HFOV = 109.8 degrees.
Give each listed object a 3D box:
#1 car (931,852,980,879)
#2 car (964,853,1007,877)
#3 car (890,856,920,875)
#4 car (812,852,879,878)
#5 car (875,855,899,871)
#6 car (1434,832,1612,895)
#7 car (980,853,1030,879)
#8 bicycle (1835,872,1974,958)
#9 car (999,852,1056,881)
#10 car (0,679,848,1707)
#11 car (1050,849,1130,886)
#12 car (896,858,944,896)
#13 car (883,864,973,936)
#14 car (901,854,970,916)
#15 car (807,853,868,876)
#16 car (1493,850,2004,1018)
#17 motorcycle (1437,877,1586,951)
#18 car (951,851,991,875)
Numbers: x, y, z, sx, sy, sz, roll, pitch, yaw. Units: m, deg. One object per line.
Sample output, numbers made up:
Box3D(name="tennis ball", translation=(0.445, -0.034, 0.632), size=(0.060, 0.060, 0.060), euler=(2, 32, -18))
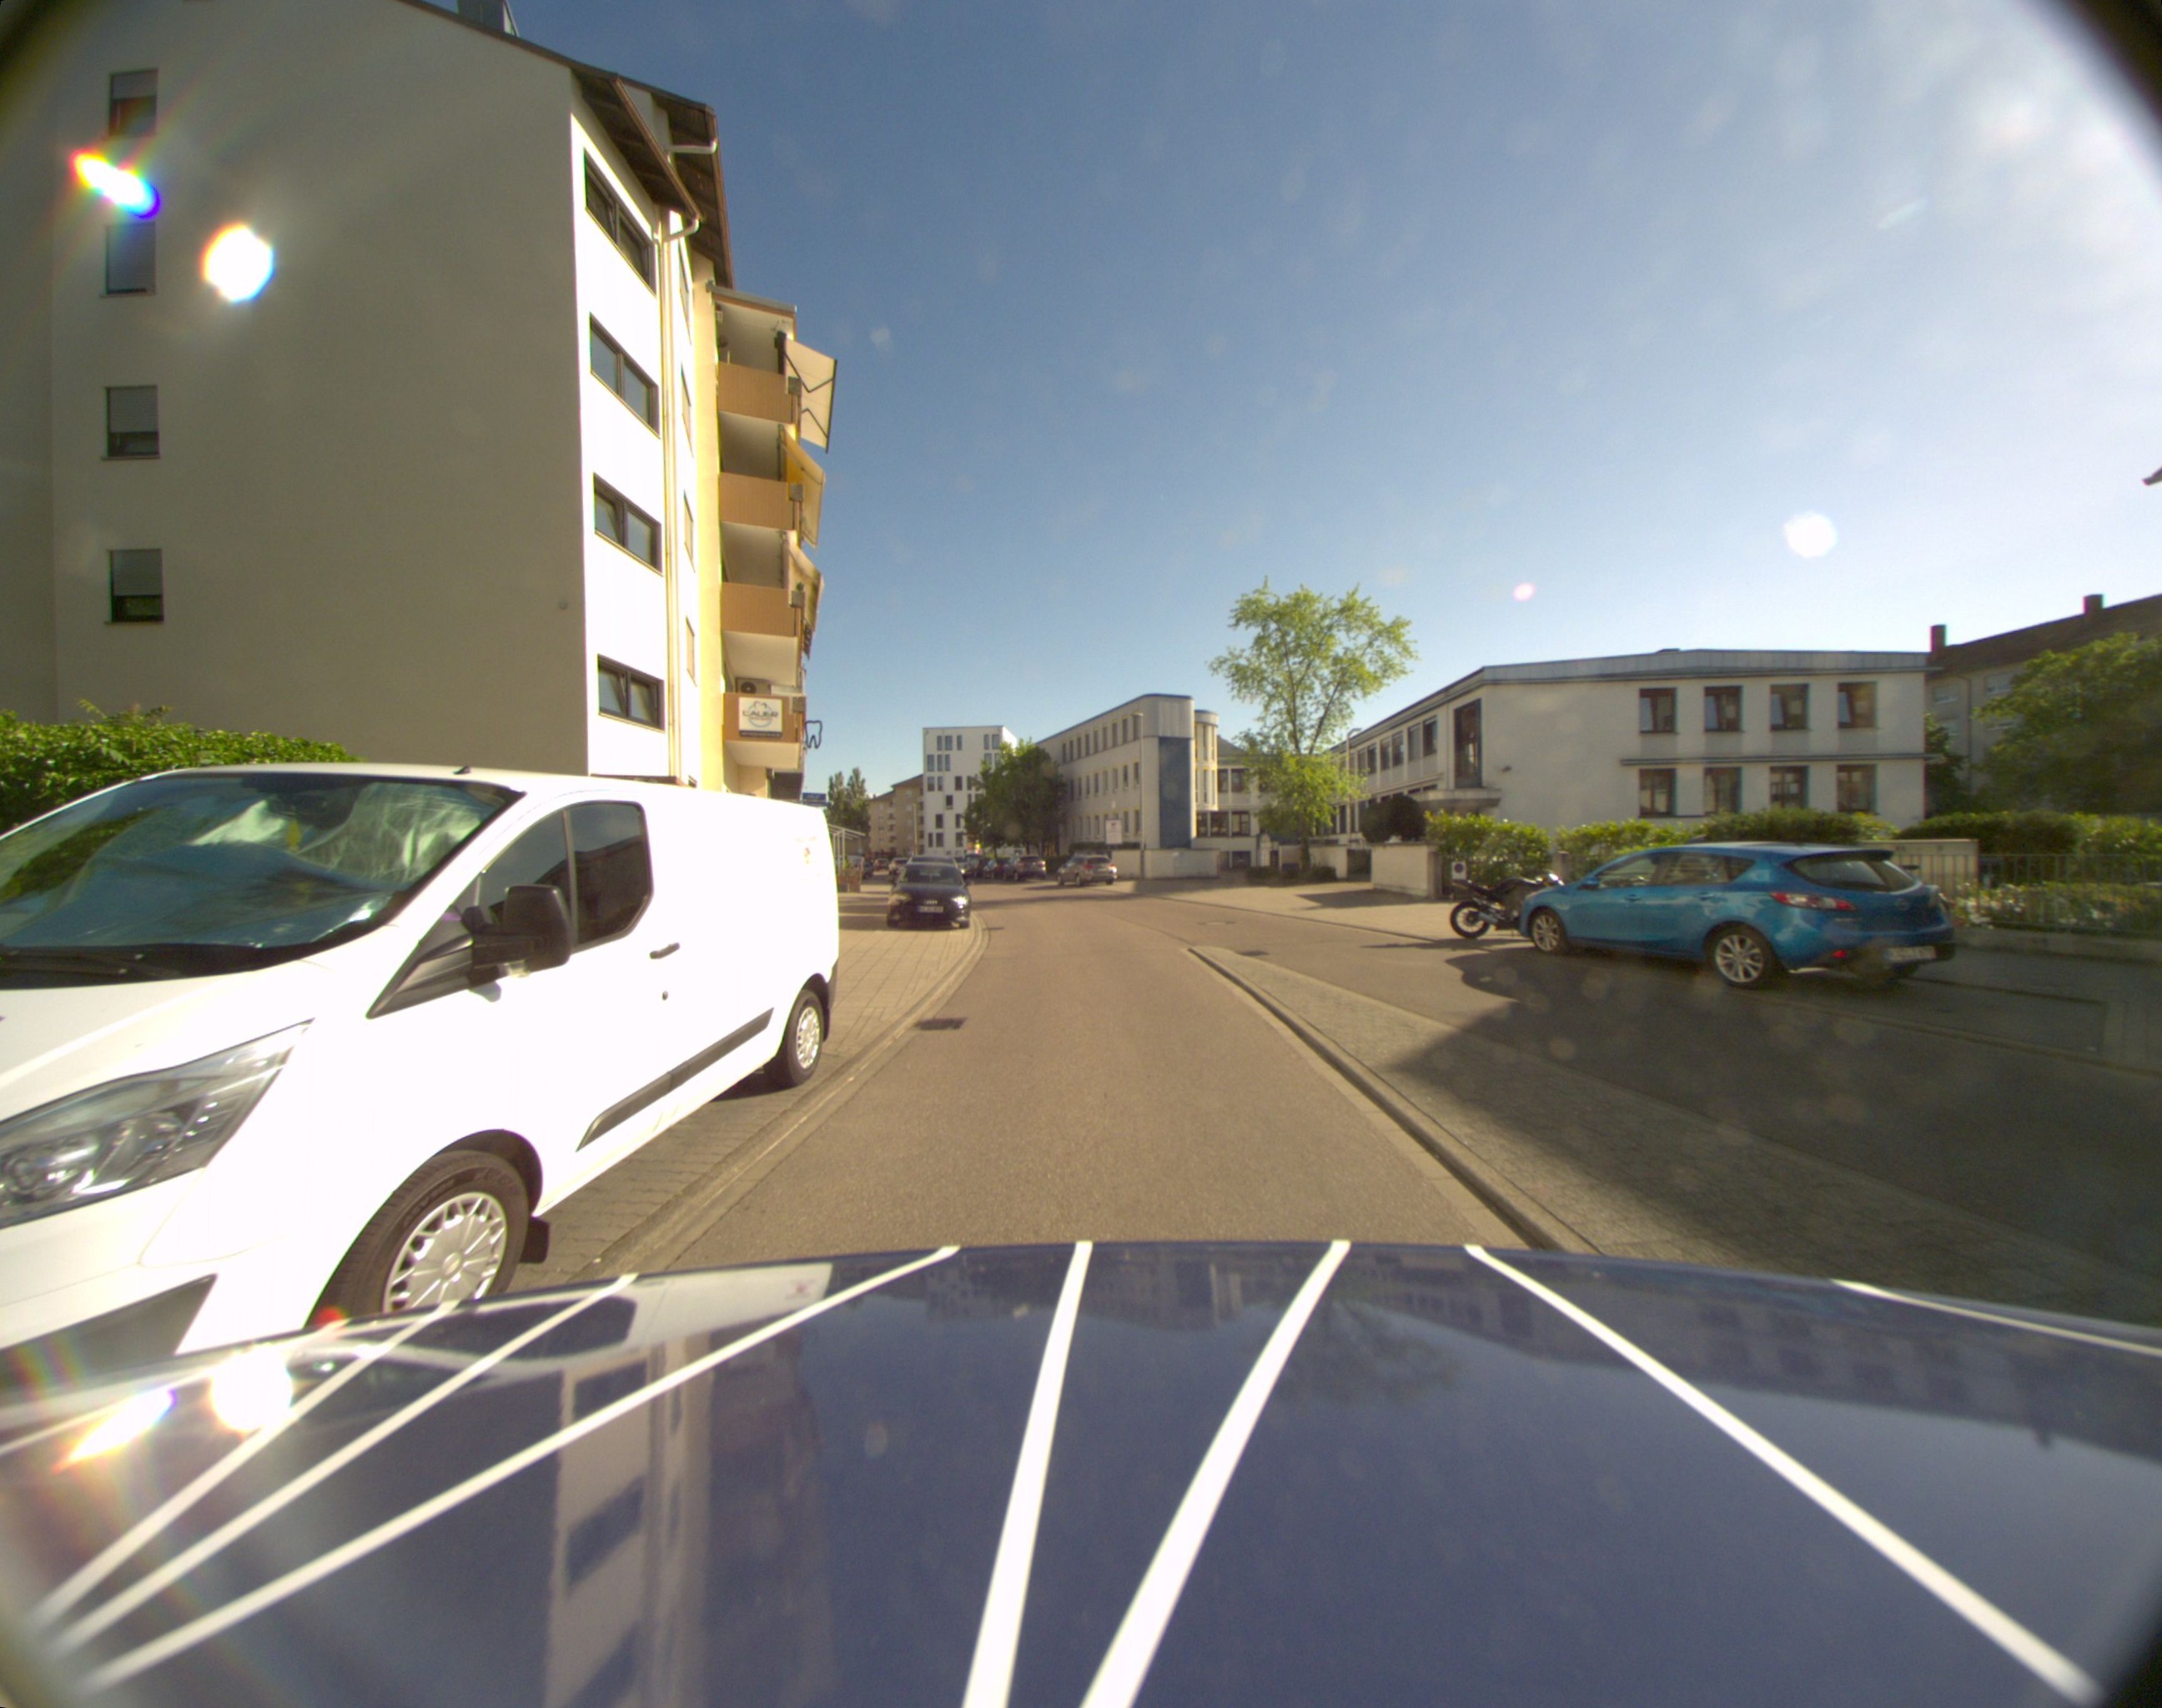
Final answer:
Box3D(name="car", translation=(-8.894, 0.798, 53.453), size=(2.141, 1.726, 4.826), euler=(-3, 1, -24))
Box3D(name="car", translation=(-7.223, 0.814, 57.238), size=(2.141, 1.604, 4.453), euler=(-3, 1, -21))
Box3D(name="car", translation=(-17.235, 1.065, 74.325), size=(2.141, 1.726, 4.827), euler=(-3, 1, -21))
Box3D(name="car", translation=(-18.247, 0.837, 59.180), size=(2.134, 1.726, 4.843), euler=(-2, 1, 28))
Box3D(name="car", translation=(-22.730, 1.017, 89.021), size=(2.141, 1.726, 4.827), euler=(-3, 1, -21))
Box3D(name="car", translation=(12.692, 0.259, 22.045), size=(3.996, 1.706, 2.000), euler=(0, 1, 2))
Box3D(name="car", translation=(-5.289, 0.793, 51.995), size=(2.141, 1.604, 4.827), euler=(-3, 1, -21))
Box3D(name="bicycle", translation=(10.611, 0.752, 9.842), size=(0.346, 1.010, 1.262), euler=(0, 1, -6))
Box3D(name="car", translation=(-3.383, 0.722, 46.912), size=(2.141, 1.604, 4.827), euler=(-3, 1, -21))
Box3D(name="car", translation=(-2.888, 0.657, 3.543), size=(1.998, 2.002, 4.797), euler=(2, 0, 1))
Box3D(name="car", translation=(0.355, 0.633, 37.548), size=(2.141, 1.604, 4.826), euler=(-3, 1, -23))
Box3D(name="car", translation=(-7.137, 0.979, 33.525), size=(1.760, 1.445, 3.994), euler=(3, 0, -16))
Box3D(name="car", translation=(-3.482, 0.983, 17.690), size=(1.759, 1.386, 3.996), euler=(3, 0, -9))
Box3D(name="car", translation=(-4.271, 0.842, 22.570), size=(1.759, 1.604, 3.996), euler=(3, 0, -10))
Box3D(name="car", translation=(-21.025, 0.875, 65.841), size=(2.134, 1.726, 4.843), euler=(-2, 1, 28))
Box3D(name="car", translation=(7.243, 0.716, 9.036), size=(1.885, 1.426, 4.411), euler=(-2, 0, -7))
Box3D(name="motorcycle", translation=(6.778, 0.952, 12.075), size=(1.959, 1.089, 0.591), euler=(-2, 0, 22))
Box3D(name="car", translation=(-8.996, 0.738, 61.905), size=(2.141, 1.800, 4.827), euler=(-3, 1, -21))
